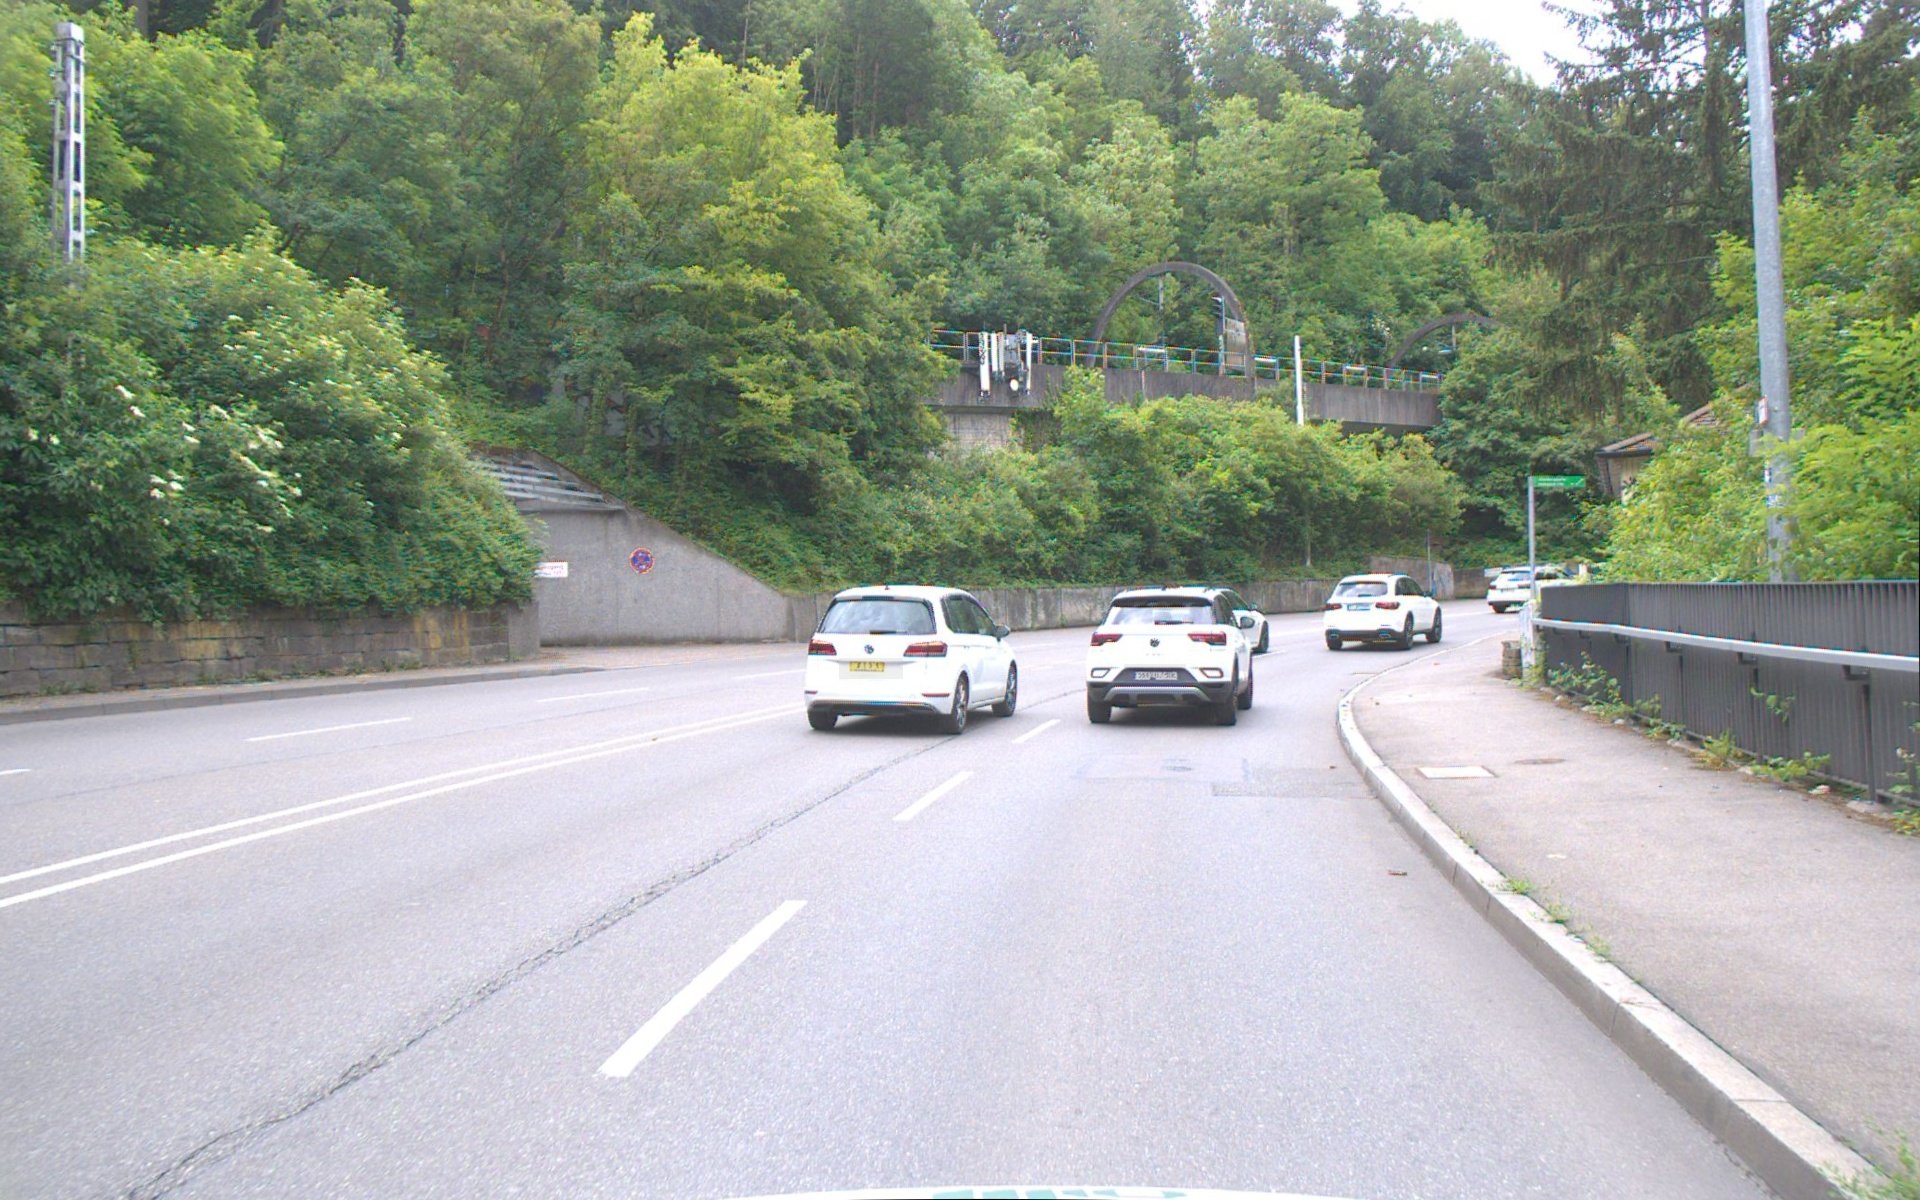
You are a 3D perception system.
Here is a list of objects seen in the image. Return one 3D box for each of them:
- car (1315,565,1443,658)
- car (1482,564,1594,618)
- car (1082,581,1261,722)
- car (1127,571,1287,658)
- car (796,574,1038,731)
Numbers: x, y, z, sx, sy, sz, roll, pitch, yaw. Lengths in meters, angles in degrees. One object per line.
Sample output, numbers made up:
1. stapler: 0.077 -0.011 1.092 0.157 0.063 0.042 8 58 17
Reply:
1. car: 9.627 0.306 37.811 1.955 1.876 4.145 1 -3 27
2. car: 19.362 -0.275 55.318 4.272 1.546 1.720 5 -3 -42
3. car: 2.716 0.618 20.537 1.775 1.566 4.011 0 -1 14
4. car: 5.335 0.243 35.209 1.955 1.584 4.676 3 3 27
5. car: -0.359 0.596 19.278 1.683 1.582 4.278 1 -1 14
